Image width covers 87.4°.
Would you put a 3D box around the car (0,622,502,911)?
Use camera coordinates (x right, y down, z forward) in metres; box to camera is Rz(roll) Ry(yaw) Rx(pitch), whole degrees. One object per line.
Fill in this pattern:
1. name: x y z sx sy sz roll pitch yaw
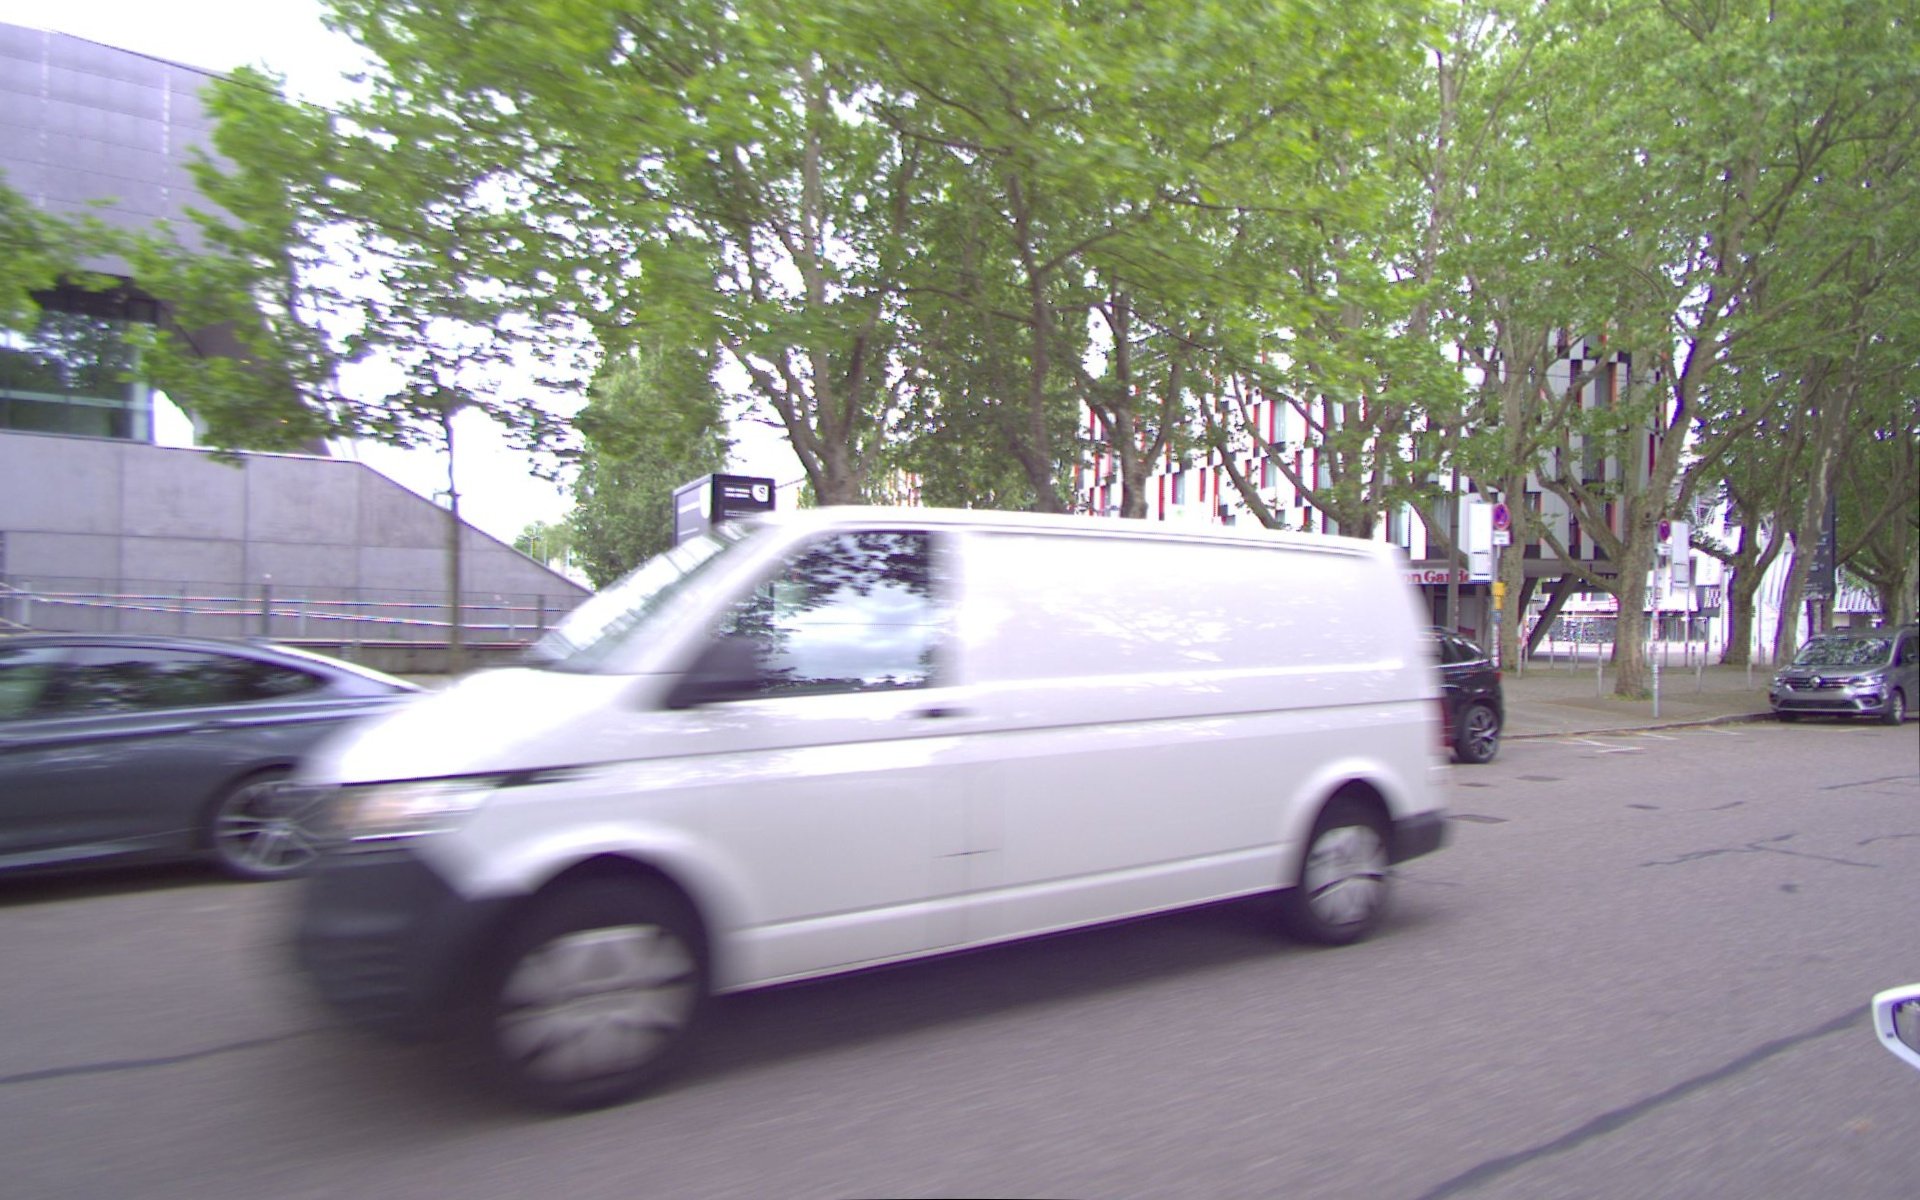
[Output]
1. car: -5.549 0.895 5.981 4.939 1.504 1.809 2 -3 -33

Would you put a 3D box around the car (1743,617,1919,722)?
1. car: 17.363 1.330 19.432 4.558 1.818 1.887 2 -4 -30

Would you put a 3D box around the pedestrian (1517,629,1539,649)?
1. pedestrian: 41.377 2.835 73.176 1.098 1.481 1.038 2 -1 -32

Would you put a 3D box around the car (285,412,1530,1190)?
1. car: 0.140 0.579 4.816 5.400 1.987 2.050 1 -2 -30

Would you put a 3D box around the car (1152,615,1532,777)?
1. car: 4.553 1.072 11.894 4.289 1.614 1.811 2 -4 -28
